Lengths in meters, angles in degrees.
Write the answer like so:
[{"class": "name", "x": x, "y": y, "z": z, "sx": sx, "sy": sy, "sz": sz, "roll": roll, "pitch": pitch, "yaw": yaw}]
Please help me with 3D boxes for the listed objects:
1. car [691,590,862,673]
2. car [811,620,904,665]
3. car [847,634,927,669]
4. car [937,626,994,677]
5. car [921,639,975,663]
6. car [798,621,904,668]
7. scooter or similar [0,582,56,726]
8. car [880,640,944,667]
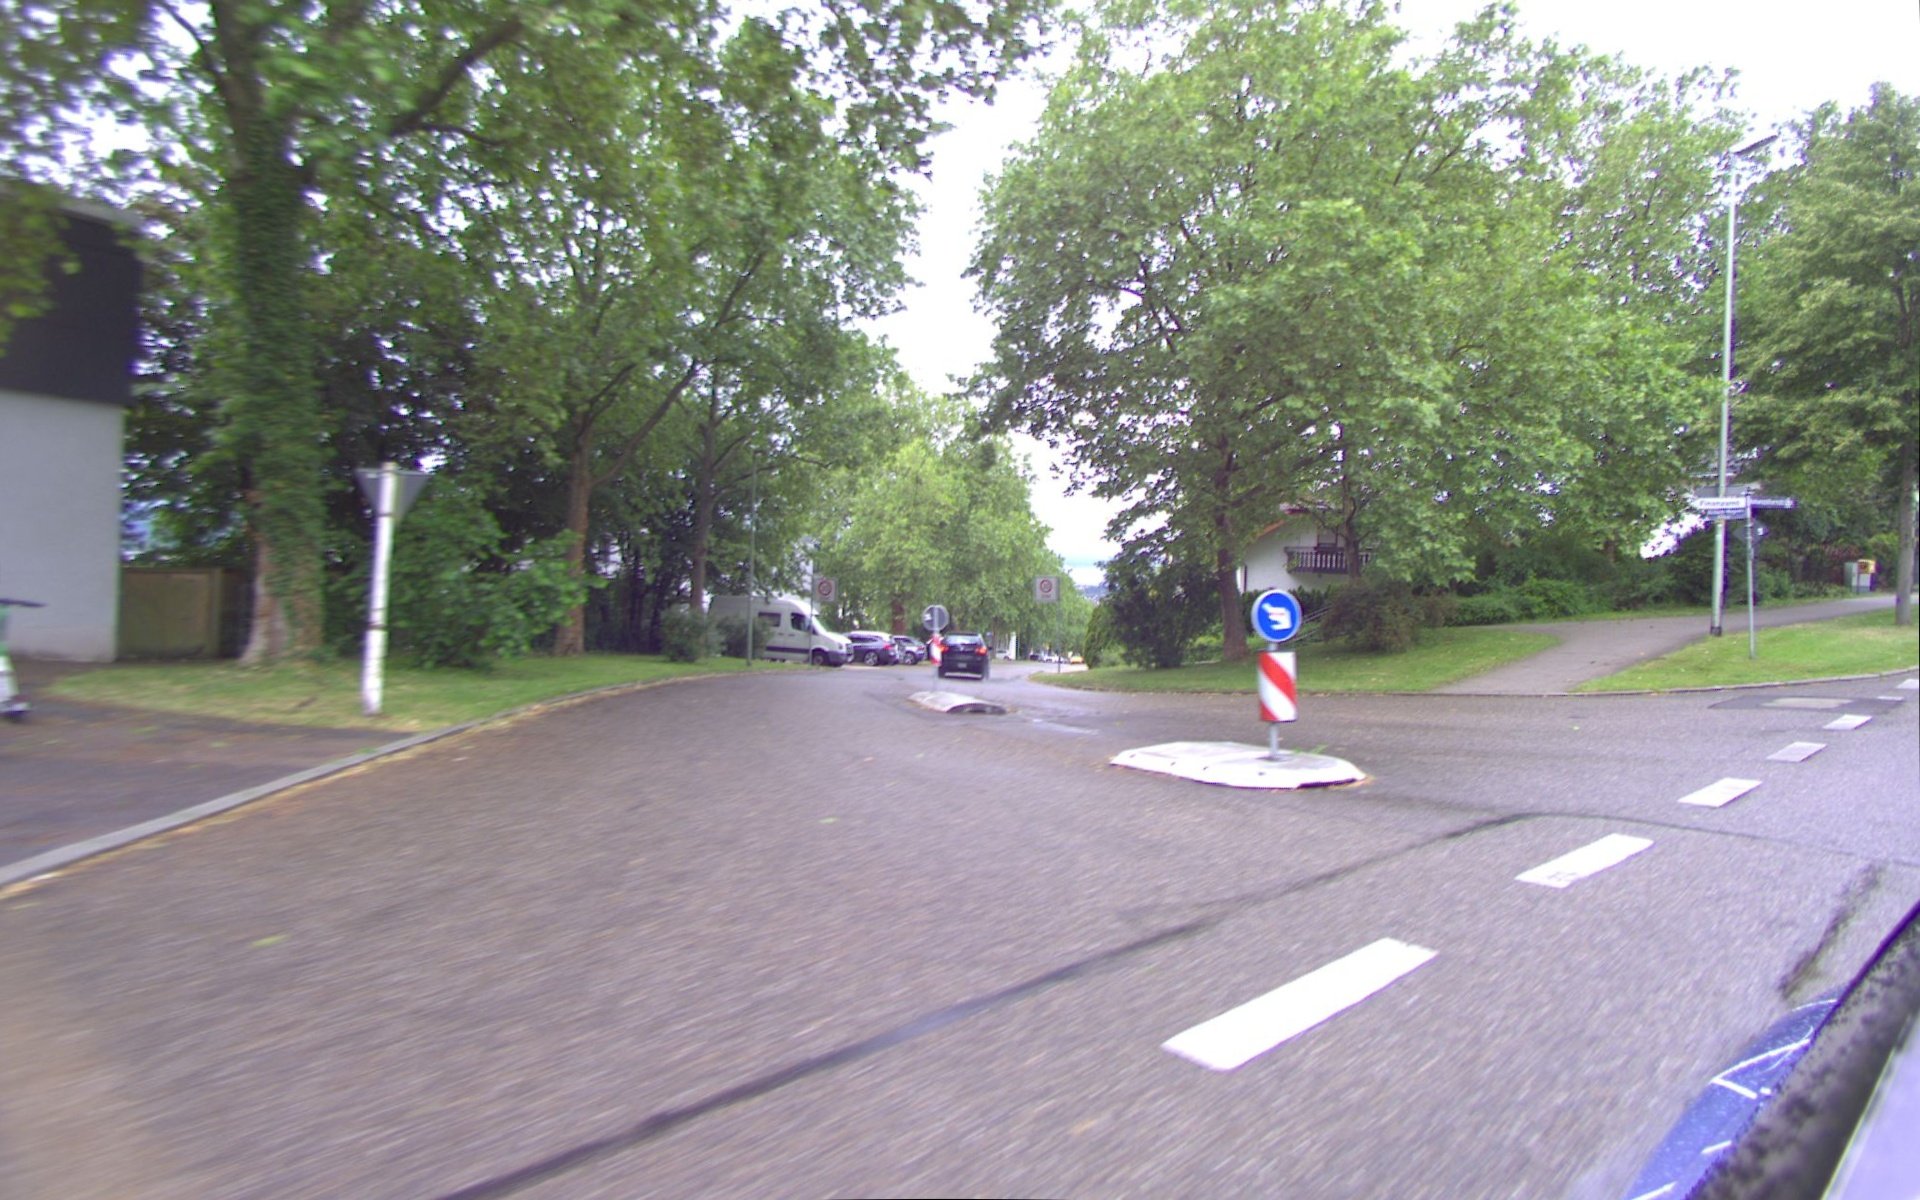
[{"class": "car", "x": -7.155, "y": 1.185, "z": 39.741, "sx": 6.046, "sy": 2.707, "sz": 2.352, "roll": 4, "pitch": 0, "yaw": 8}, {"class": "car", "x": -5.134, "y": 2.107, "z": 51.122, "sx": 4.233, "sy": 1.862, "sz": 2.083, "roll": 4, "pitch": 0, "yaw": 8}, {"class": "car", "x": -4.200, "y": 2.957, "z": 58.701, "sx": 4.232, "sy": 1.863, "sz": 2.352, "roll": -1, "pitch": 0, "yaw": 8}, {"class": "car", "x": 0.186, "y": 1.657, "z": 32.800, "sx": 1.695, "sy": 1.483, "sz": 3.997, "roll": 2, "pitch": -2, "yaw": 1}, {"class": "car", "x": -0.976, "y": 4.234, "z": 83.925, "sx": 4.232, "sy": 1.863, "sz": 2.160, "roll": -1, "pitch": 0, "yaw": 8}, {"class": "car", "x": -5.131, "y": 2.127, "z": 48.279, "sx": 4.626, "sy": 1.864, "sz": 2.354, "roll": 4, "pitch": -3, "yaw": 3}, {"class": "scooter or similar", "x": -9.315, "y": 0.492, "z": 9.940, "sx": 1.336, "sy": 1.301, "sz": 0.553, "roll": 3, "pitch": 3, "yaw": 45}, {"class": "car", "x": -3.438, "y": 3.851, "z": 73.125, "sx": 4.232, "sy": 1.863, "sz": 2.352, "roll": -1, "pitch": 0, "yaw": 8}]
